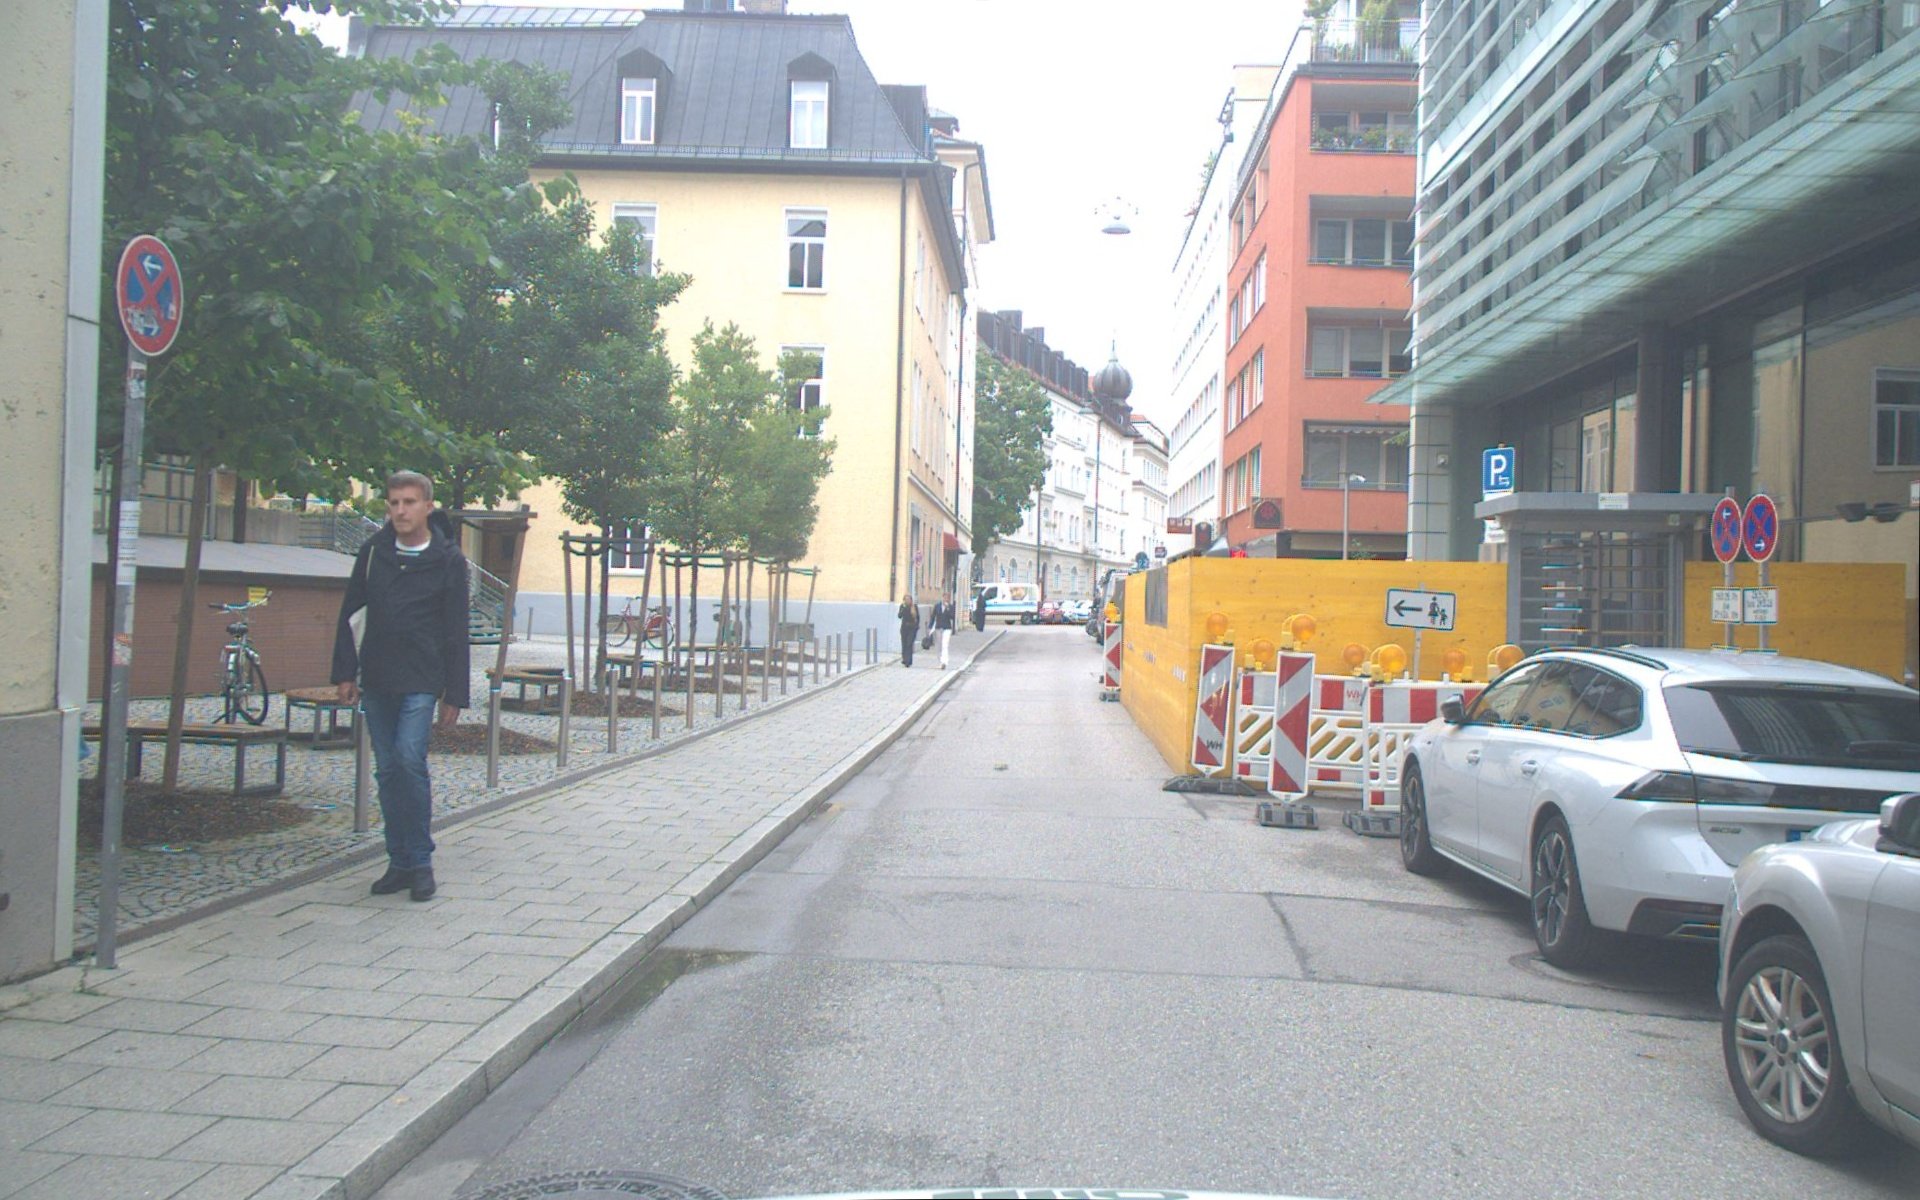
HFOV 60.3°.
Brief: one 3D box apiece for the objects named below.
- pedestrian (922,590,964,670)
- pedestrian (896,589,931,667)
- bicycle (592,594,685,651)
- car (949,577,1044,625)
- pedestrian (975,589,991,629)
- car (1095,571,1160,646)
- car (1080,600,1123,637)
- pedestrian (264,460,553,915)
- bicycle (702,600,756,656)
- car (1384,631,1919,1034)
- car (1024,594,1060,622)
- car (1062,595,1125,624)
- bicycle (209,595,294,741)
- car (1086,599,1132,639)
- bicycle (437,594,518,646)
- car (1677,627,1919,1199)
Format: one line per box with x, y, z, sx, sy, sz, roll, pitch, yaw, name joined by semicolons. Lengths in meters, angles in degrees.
-0.370;0.664;36.749;0.822;1.730;0.803;2;-1;2;pedestrian
-1.029;0.620;36.838;0.656;1.677;0.762;2;-1;2;pedestrian
-7.408;0.517;38.138;2.000;1.218;0.570;2;0;10;bicycle
2.054;0.057;92.794;4.923;2.440;1.981;2;0;-30;car
1.026;0.397;73.015;0.621;1.704;0.518;2;0;2;pedestrian
6.086;0.297;60.688;1.952;2.581;4.976;2;0;2;car
6.746;0.867;79.050;1.774;1.590;4.275;3;0;2;car
-2.507;0.375;7.669;0.850;1.914;1.135;2;-1;2;pedestrian
-5.037;0.601;36.196;0.499;1.164;2.054;3;0;10;bicycle
3.565;0.948;8.599;1.672;1.438;4.511;3;0;2;car
5.029;0.486;100.476;1.655;1.601;4.003;2;0;10;car
8.103;0.590;100.216;1.667;1.601;3.974;2;0;43;car
-6.430;0.589;15.073;0.542;1.218;1.827;2;0;-19;bicycle
6.664;0.831;74.388;1.751;1.654;4.274;2;0;2;car
-11.087;0.456;38.022;1.621;1.088;0.598;3;0;6;bicycle
3.303;0.874;3.455;1.673;1.493;4.236;3;0;-1;car
